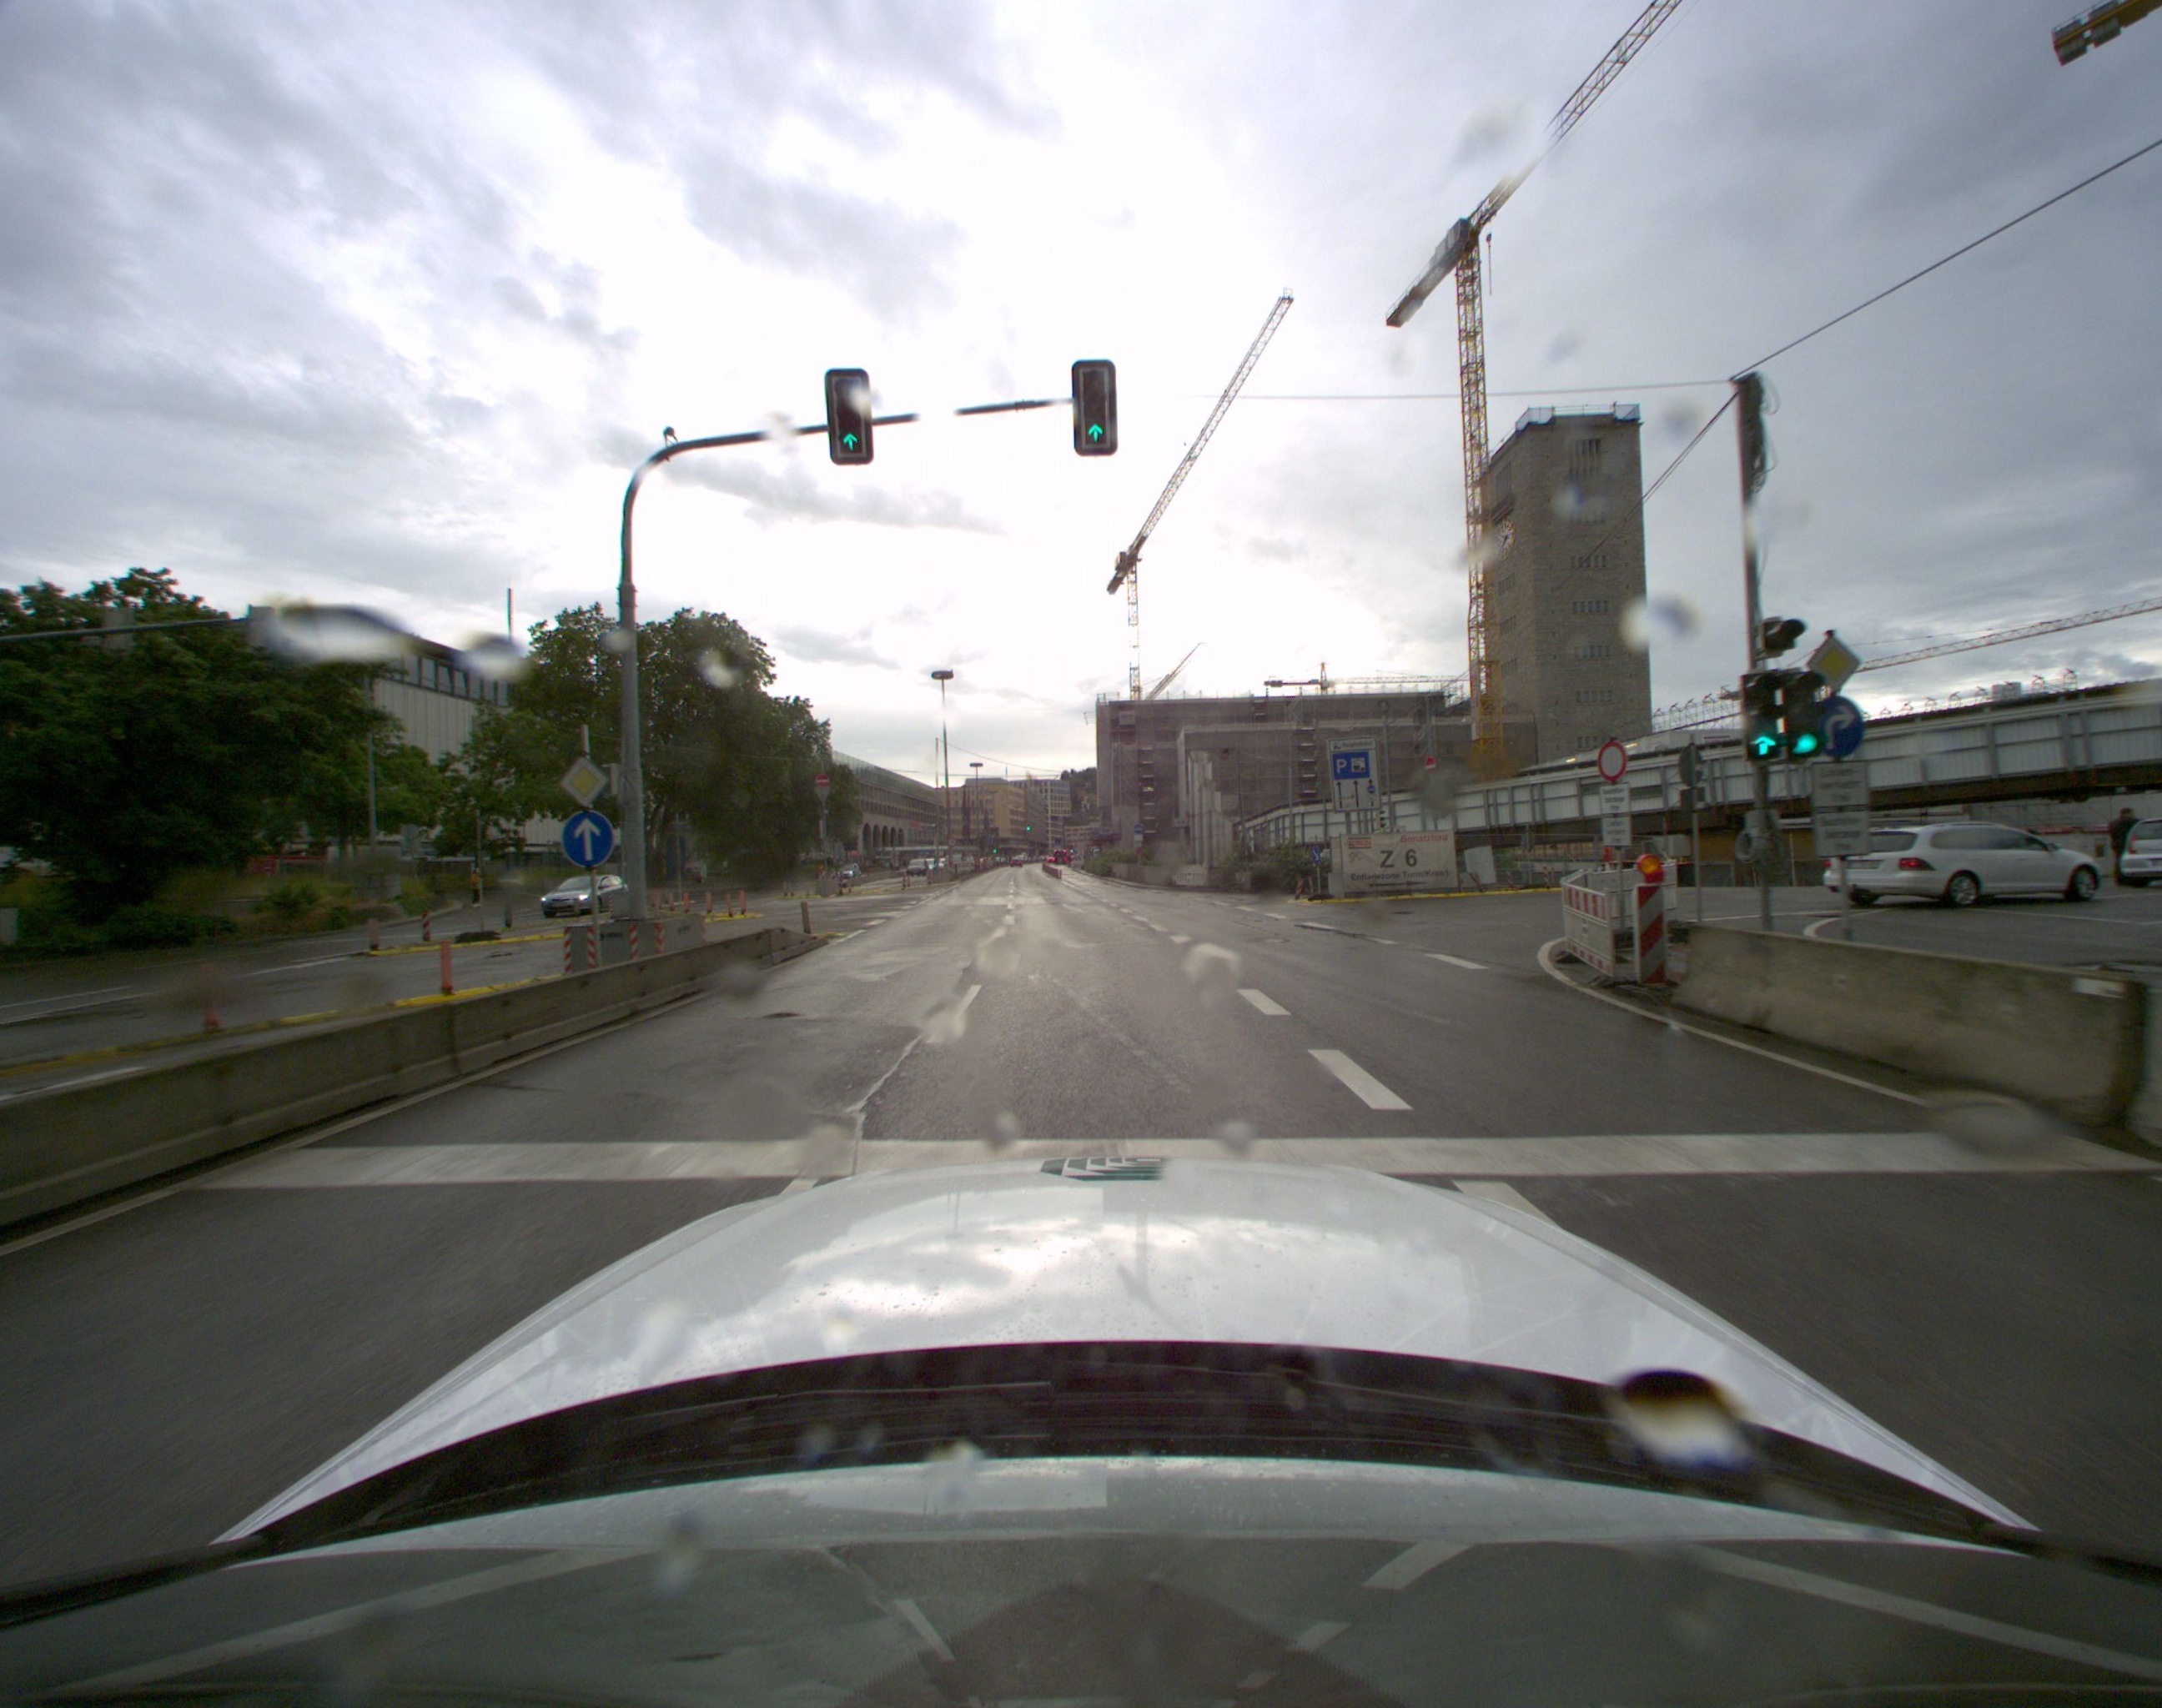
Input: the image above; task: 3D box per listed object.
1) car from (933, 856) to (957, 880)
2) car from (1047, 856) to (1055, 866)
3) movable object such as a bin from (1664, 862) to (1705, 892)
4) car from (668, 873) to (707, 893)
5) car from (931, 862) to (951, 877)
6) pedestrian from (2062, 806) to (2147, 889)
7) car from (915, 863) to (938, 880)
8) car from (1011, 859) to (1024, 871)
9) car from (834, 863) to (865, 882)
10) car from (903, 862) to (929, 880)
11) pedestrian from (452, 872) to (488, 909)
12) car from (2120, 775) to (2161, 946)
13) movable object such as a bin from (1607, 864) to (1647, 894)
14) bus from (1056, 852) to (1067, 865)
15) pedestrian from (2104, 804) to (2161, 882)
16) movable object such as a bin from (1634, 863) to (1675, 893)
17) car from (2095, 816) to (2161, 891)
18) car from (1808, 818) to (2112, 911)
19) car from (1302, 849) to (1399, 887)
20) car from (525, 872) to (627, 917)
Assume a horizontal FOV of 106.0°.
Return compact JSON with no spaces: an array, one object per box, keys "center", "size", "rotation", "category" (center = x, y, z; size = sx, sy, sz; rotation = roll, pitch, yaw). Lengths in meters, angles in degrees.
[{"center":[-13.081,1.379,78.373],"size":[1.900,2.083,4.167],"rotation":[-3,-3,-6],"category":"car"},{"center":[-7.151,1.614,194.481],"size":[1.989,2.014,3.996],"rotation":[-3,-3,-2],"category":"car"},{"center":[23.448,0.886,31.662],"size":[0.986,1.102,0.731],"rotation":[-3,-3,4],"category":"movable object such as a bin"},{"center":[-34.651,2.550,71.717],"size":[1.919,1.528,3.955],"rotation":[0,-4,-45],"category":"car"},{"center":[-16.087,1.789,93.461],"size":[1.900,1.528,4.167],"rotation":[-3,-3,-6],"category":"car"},{"center":[22.423,-0.123,17.860],"size":[0.700,1.734,0.828],"rotation":[-4,-3,19],"category":"pedestrian"},{"center":[-15.960,1.863,84.061],"size":[1.900,1.528,4.167],"rotation":[-3,-3,-6],"category":"car"},{"center":[-10.213,1.781,131.403],"size":[1.900,1.528,4.167],"rotation":[-3,-3,-6],"category":"car"},{"center":[-21.203,1.696,74.718],"size":[1.900,1.528,4.167],"rotation":[-3,-3,-6],"category":"car"},{"center":[-15.828,1.661,78.258],"size":[1.900,1.528,4.167],"rotation":[-3,-3,-6],"category":"car"},{"center":[-26.536,1.574,35.397],"size":[0.583,1.557,1.117],"rotation":[-4,-3,13],"category":"pedestrian"},{"center":[13.737,0.027,7.311],"size":[1.911,1.975,5.146],"rotation":[-1,-1,-9],"category":"car"},{"center":[21.299,0.992,31.770],"size":[0.986,1.102,0.748],"rotation":[-3,-3,4],"category":"movable object such as a bin"},{"center":[-4.117,0.984,172.629],"size":[1.986,2.432,4.001],"rotation":[-3,-3,2],"category":"bus"},{"center":[23.092,-0.228,17.645],"size":[0.700,1.636,0.823],"rotation":[-4,-3,19],"category":"pedestrian"},{"center":[22.372,0.937,31.786],"size":[0.986,1.102,0.731],"rotation":[-3,-3,4],"category":"movable object such as a bin"},{"center":[23.200,-0.085,16.709],"size":[3.347,1.481,1.619],"rotation":[-3,-3,-13],"category":"car"},{"center":[16.327,0.169,15.231],"size":[4.200,1.452,1.809],"rotation":[-2,0,-9],"category":"car"},{"center":[15.771,0.776,47.775],"size":[4.817,2.132,2.368],"rotation":[0,0,44],"category":"car"},{"center":[-19.017,1.484,30.874],"size":[1.766,1.463,4.162],"rotation":[-4,-1,-10],"category":"car"}]
